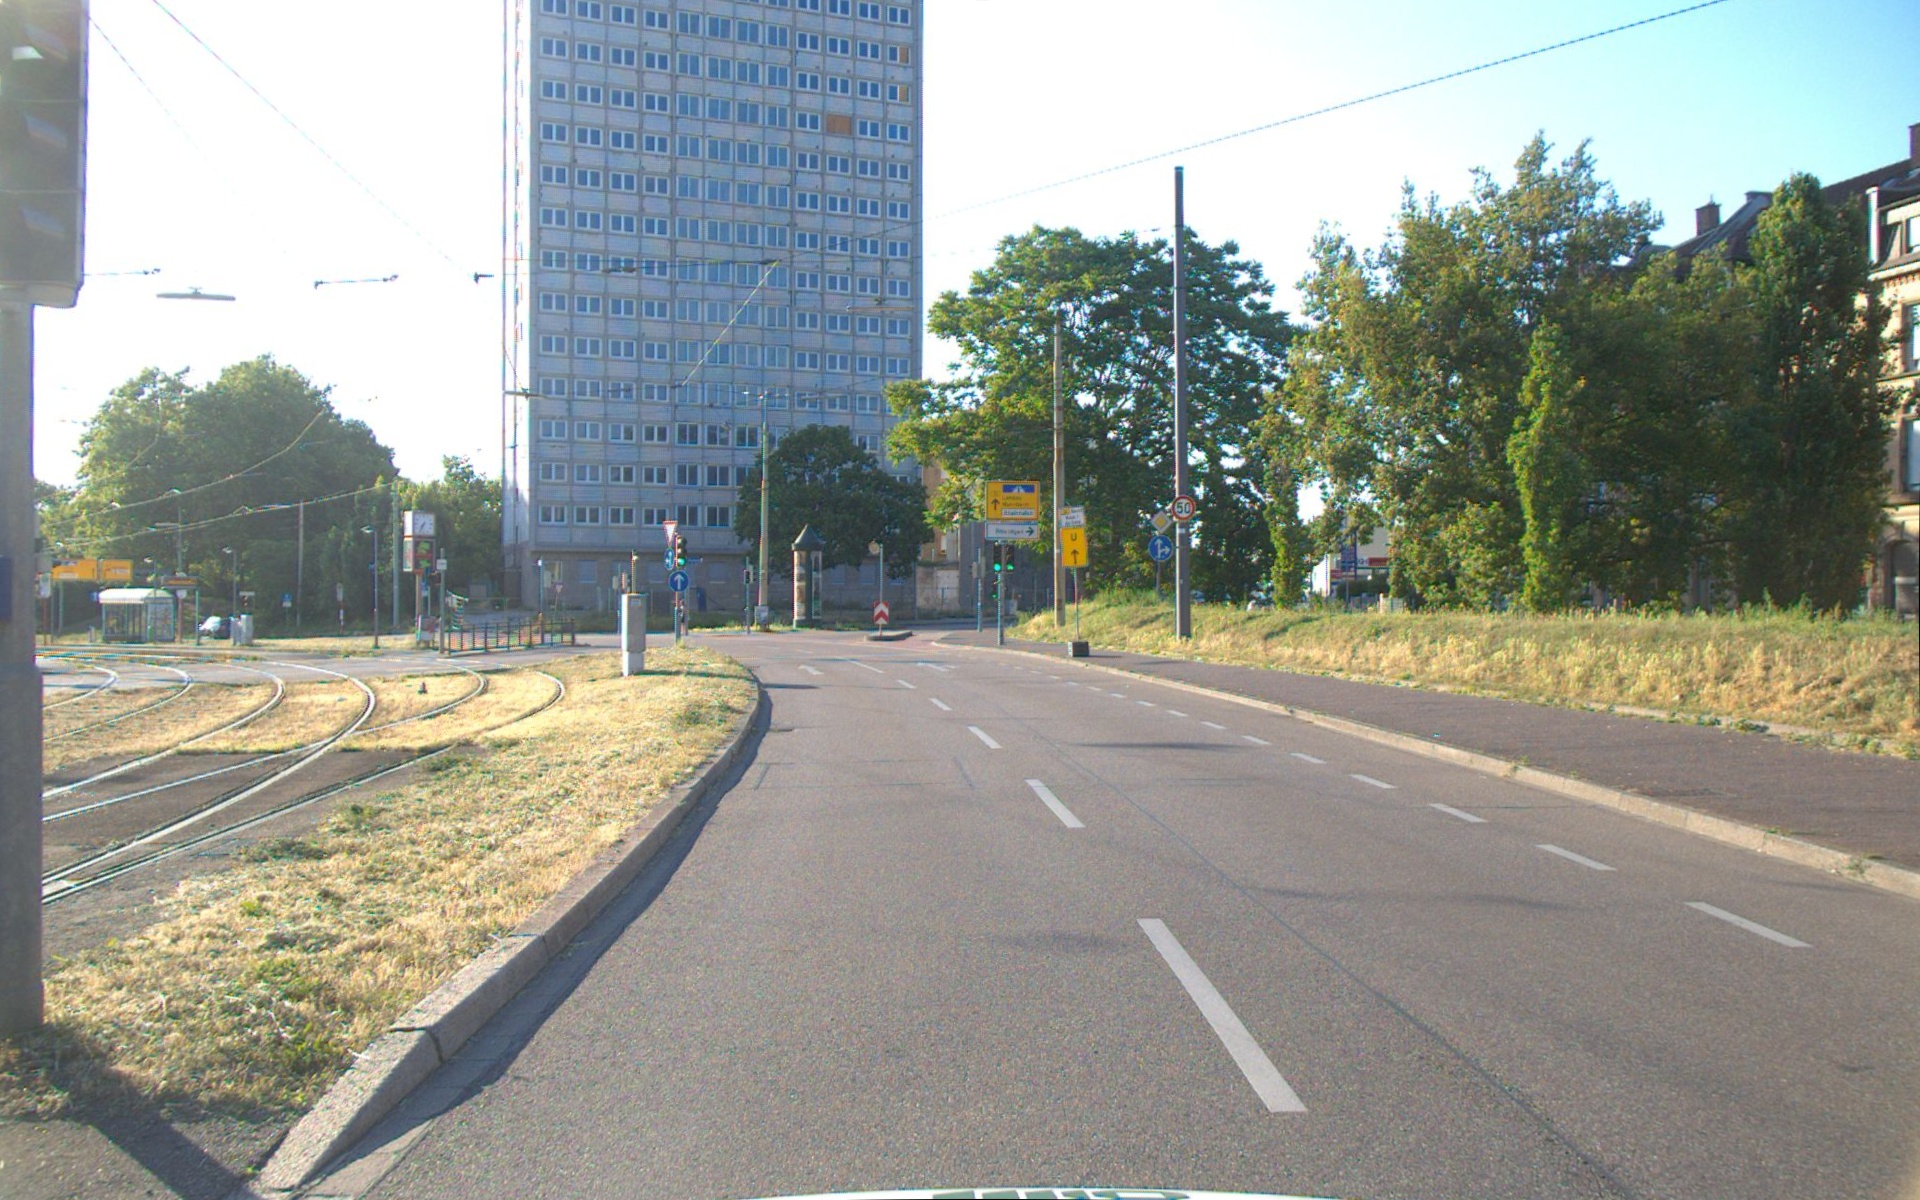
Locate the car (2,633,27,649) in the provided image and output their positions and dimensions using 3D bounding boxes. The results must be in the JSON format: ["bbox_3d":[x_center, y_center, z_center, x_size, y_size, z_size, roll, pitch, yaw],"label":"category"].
[{"bbox_3d":[-88.206,3.798,154.230,1.505,1.412,3.316,0,0,-39],"label":"car"}]

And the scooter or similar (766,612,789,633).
[{"bbox_3d":[-10.439,1.278,94.484,1.278,1.190,0.325,-1,0,-21],"label":"scooter or similar"}]

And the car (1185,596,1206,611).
[{"bbox_3d":[24.575,0.388,172.164,1.833,1.484,3.790,-1,1,13],"label":"car"}]

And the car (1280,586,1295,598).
[{"bbox_3d":[42.967,-1.068,216.892,1.819,1.570,4.003,-1,0,14],"label":"car"}]

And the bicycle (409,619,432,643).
[{"bbox_3d":[-22.361,1.269,68.592,0.543,0.934,1.740,-2,0,-7],"label":"bicycle"}]

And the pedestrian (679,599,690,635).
[{"bbox_3d":[-12.683,0.776,76.117,0.428,1.640,0.628,-1,0,-11],"label":"pedestrian"}]

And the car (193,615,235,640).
[{"bbox_3d":[-45.374,1.647,100.572,1.757,1.447,3.809,-1,0,-34],"label":"car"}]
